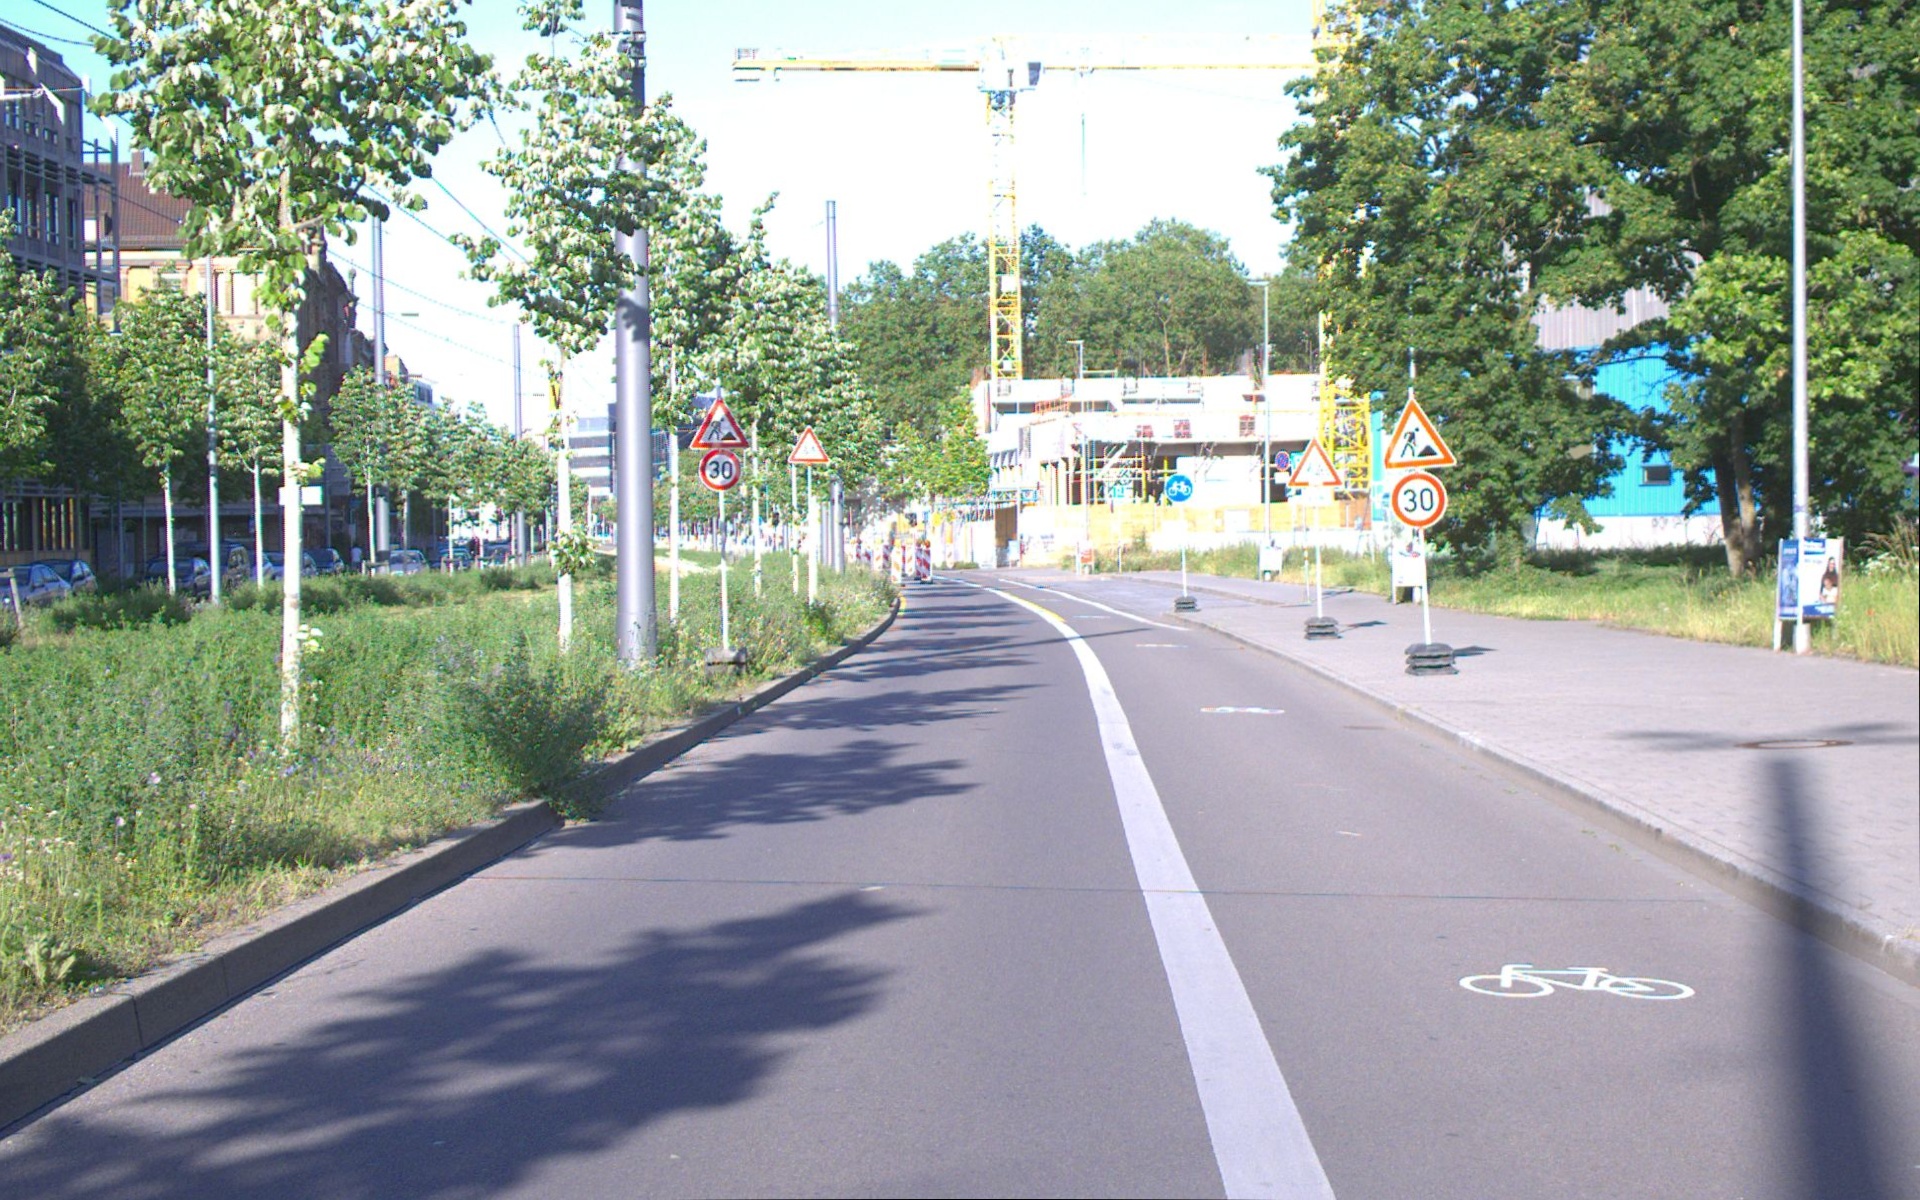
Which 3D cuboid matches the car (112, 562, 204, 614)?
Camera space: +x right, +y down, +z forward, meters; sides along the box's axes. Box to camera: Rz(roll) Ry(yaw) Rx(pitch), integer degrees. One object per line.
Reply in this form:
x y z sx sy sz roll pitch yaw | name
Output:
-25.471 -0.396 109.273 1.903 1.570 4.301 -1 1 0 | car

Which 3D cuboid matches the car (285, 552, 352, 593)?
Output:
-25.943 -1.136 139.094 1.903 1.570 4.301 -1 1 0 | car

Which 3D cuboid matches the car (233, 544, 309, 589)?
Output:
-25.146 -1.228 125.550 1.903 1.570 4.301 -1 1 0 | car

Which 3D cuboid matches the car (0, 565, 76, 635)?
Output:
-21.724 -0.008 78.424 1.758 1.510 4.583 -1 1 2 | car

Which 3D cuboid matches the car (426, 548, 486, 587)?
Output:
-21.413 -1.399 146.181 1.903 1.570 4.411 -1 1 0 | car
